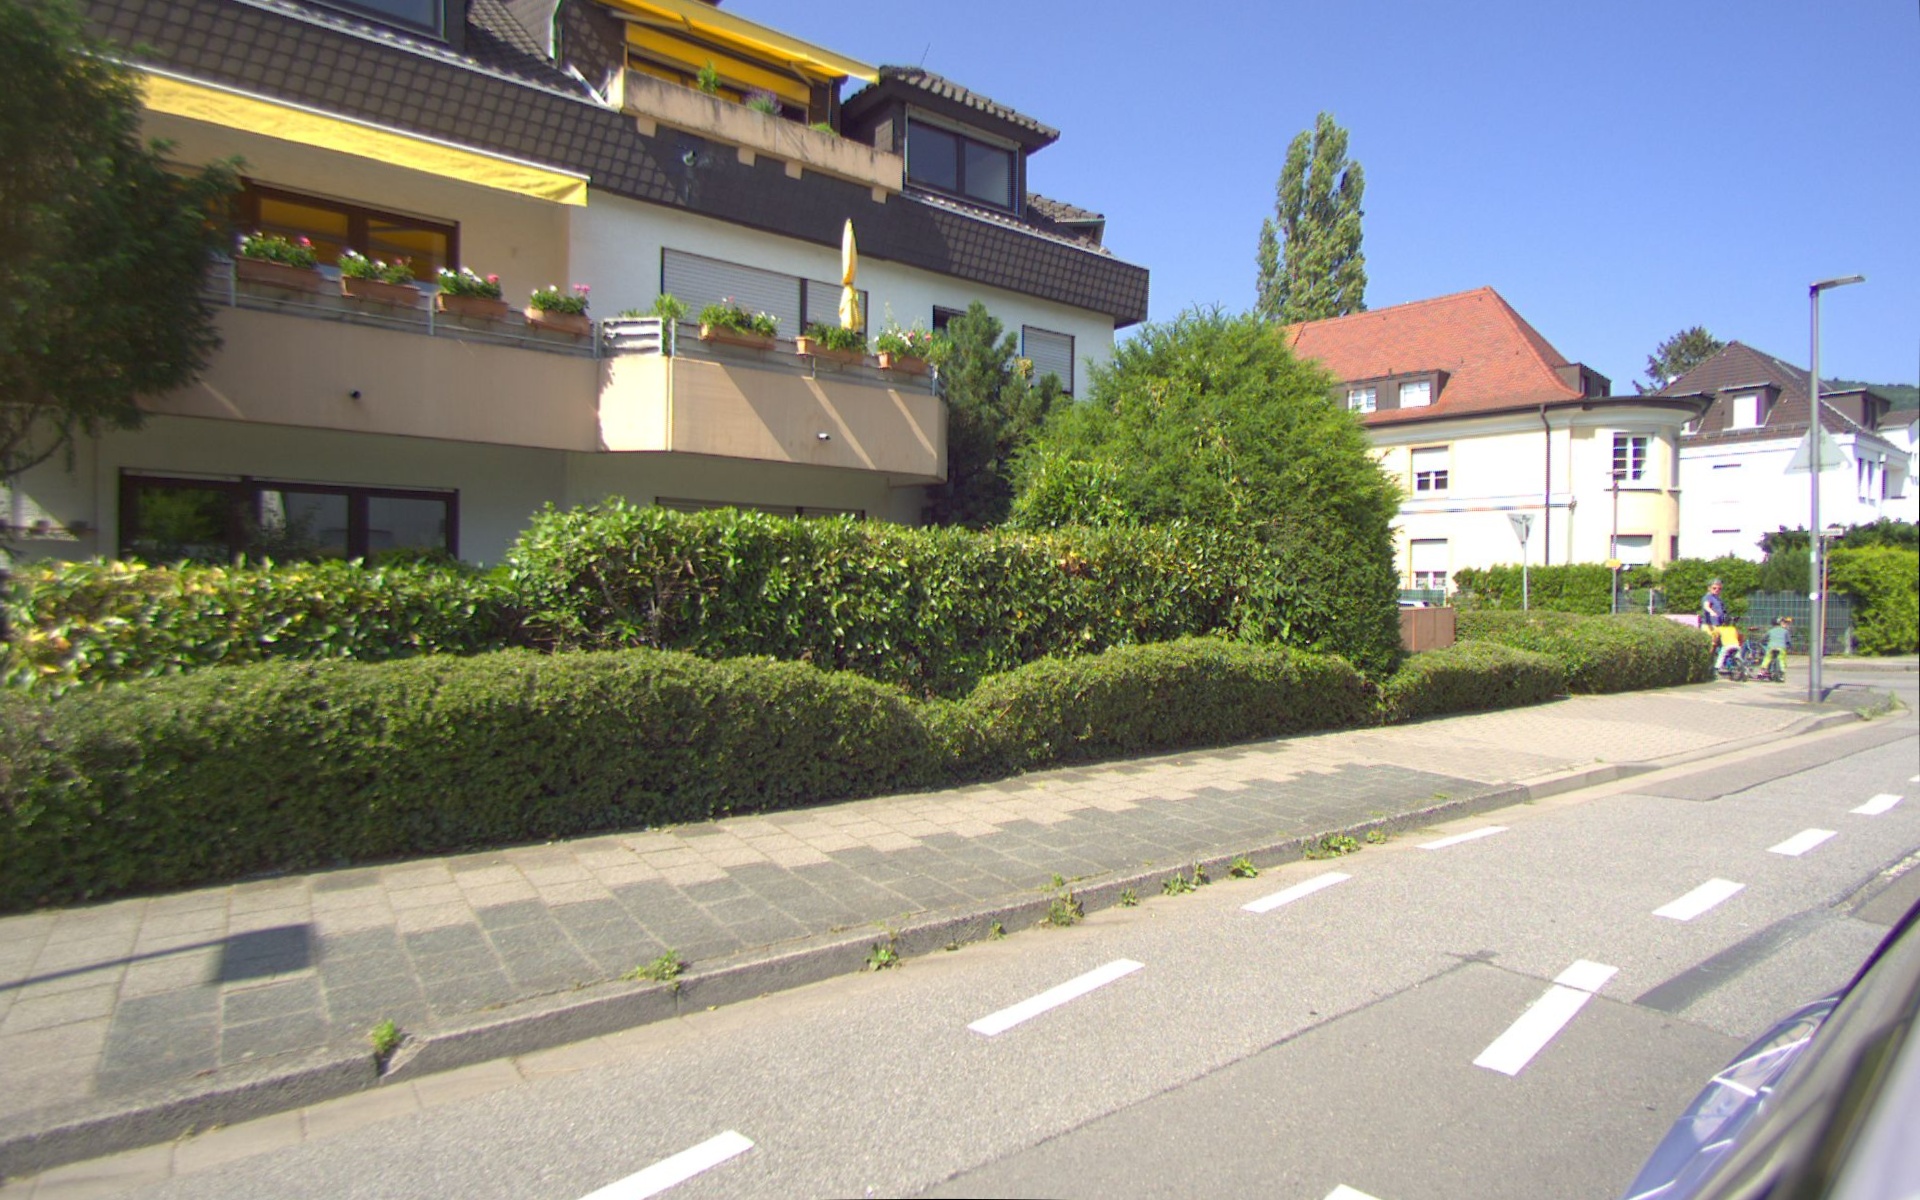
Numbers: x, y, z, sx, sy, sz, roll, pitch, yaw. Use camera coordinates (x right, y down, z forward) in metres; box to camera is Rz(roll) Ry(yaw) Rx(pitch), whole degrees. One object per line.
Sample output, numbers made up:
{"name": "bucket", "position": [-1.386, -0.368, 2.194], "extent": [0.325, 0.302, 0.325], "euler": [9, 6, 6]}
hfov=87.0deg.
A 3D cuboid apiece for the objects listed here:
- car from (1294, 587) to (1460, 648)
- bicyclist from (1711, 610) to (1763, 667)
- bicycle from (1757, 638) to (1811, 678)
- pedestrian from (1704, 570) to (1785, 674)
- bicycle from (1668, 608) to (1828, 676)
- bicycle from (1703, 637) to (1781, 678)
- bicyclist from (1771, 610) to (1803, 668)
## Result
{"name": "car", "position": [11.763, 0.444, 28.708], "extent": [1.781, 1.588, 3.990], "euler": [-1, 1, -44]}
{"name": "bicyclist", "position": [13.214, 0.645, 17.214], "extent": [0.392, 0.945, 0.609], "euler": [0, 1, -2]}
{"name": "bicycle", "position": [14.123, 0.983, 17.364], "extent": [0.398, 0.607, 1.164], "euler": [1, 1, 23]}
{"name": "pedestrian", "position": [14.743, 0.388, 19.053], "extent": [0.891, 1.896, 1.180], "euler": [0, 1, 22]}
{"name": "bicycle", "position": [15.136, 0.766, 19.570], "extent": [0.847, 1.173, 2.714], "euler": [0, 1, -3]}
{"name": "bicycle", "position": [13.256, 0.965, 17.188], "extent": [0.394, 0.607, 1.152], "euler": [0, 1, -2]}
{"name": "bicyclist", "position": [14.135, 0.661, 17.299], "extent": [0.401, 0.941, 0.648], "euler": [0, 1, 41]}
